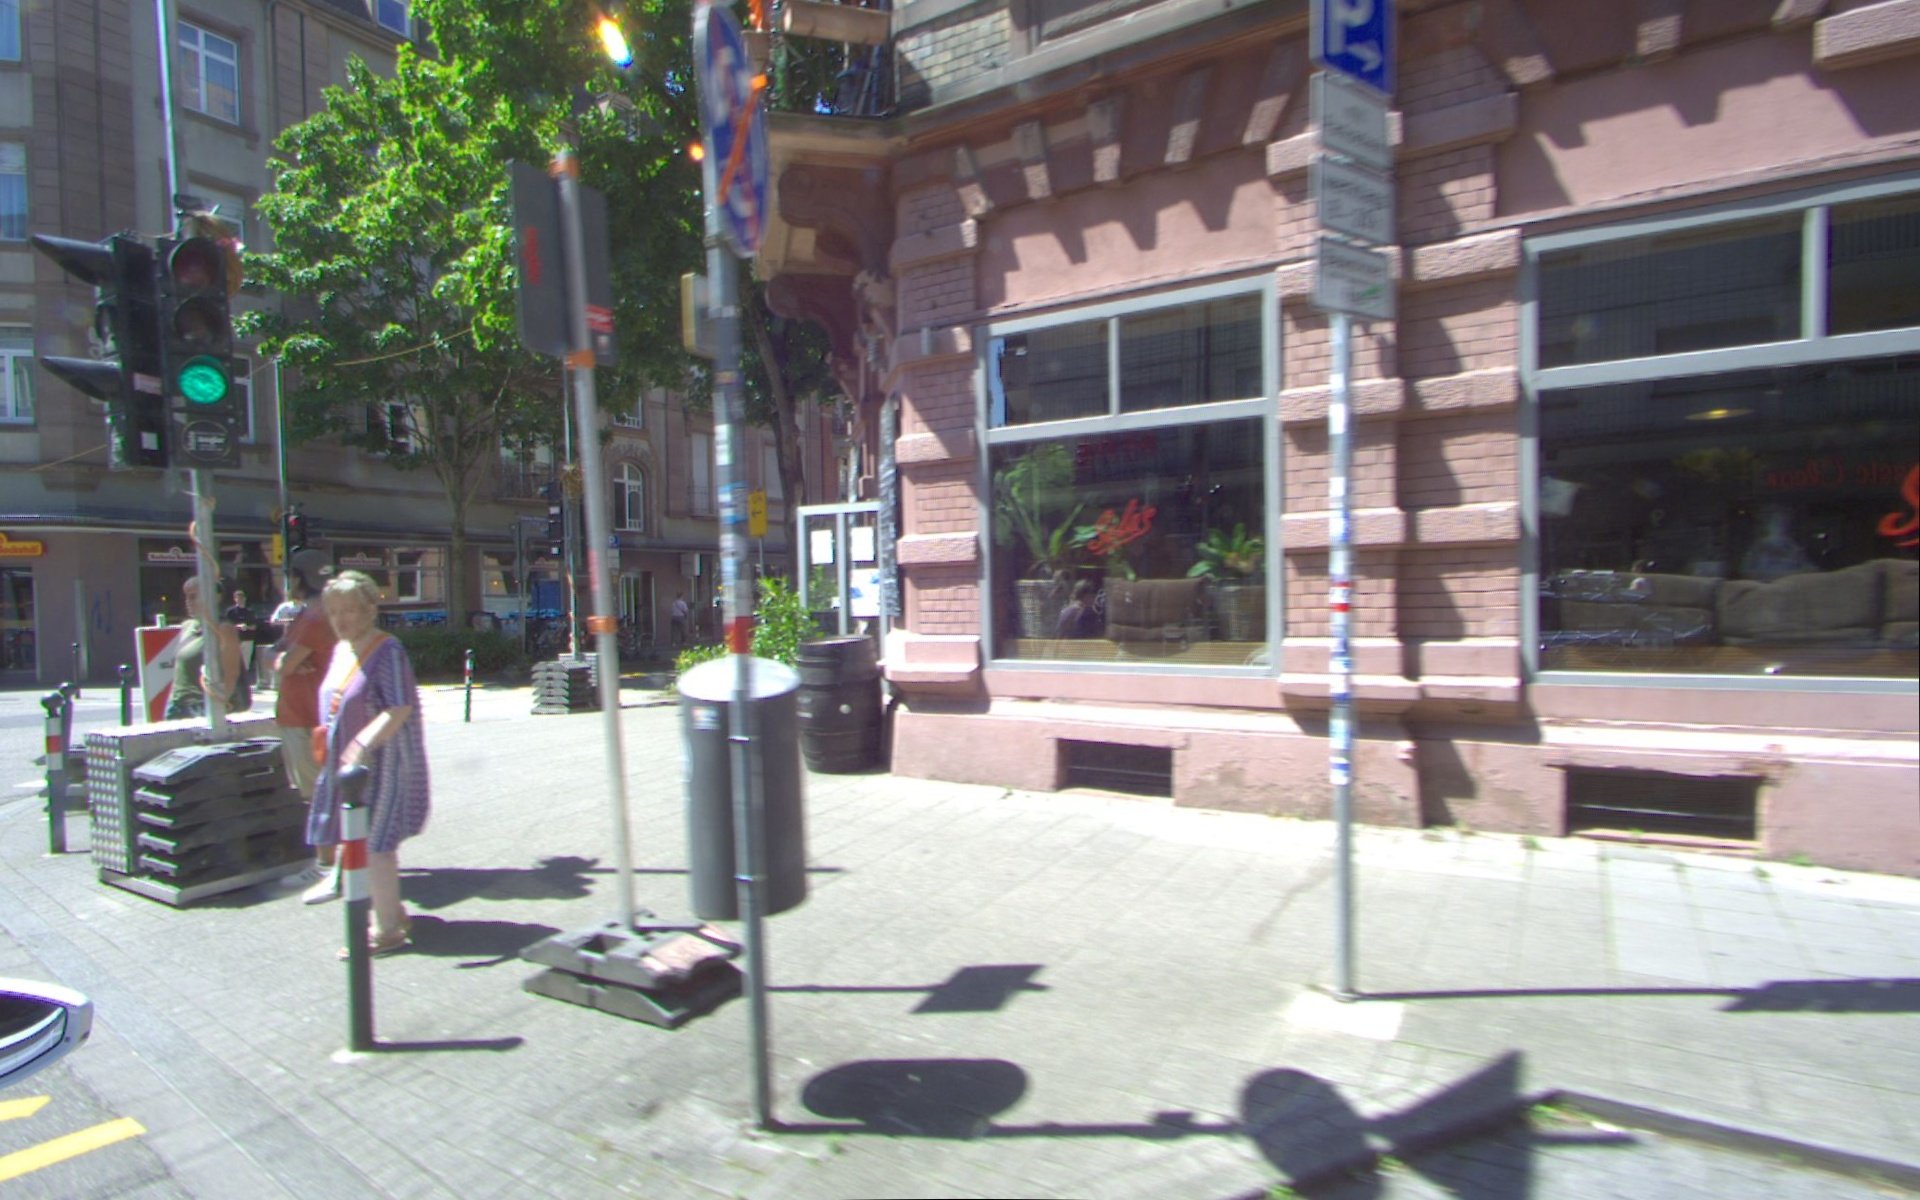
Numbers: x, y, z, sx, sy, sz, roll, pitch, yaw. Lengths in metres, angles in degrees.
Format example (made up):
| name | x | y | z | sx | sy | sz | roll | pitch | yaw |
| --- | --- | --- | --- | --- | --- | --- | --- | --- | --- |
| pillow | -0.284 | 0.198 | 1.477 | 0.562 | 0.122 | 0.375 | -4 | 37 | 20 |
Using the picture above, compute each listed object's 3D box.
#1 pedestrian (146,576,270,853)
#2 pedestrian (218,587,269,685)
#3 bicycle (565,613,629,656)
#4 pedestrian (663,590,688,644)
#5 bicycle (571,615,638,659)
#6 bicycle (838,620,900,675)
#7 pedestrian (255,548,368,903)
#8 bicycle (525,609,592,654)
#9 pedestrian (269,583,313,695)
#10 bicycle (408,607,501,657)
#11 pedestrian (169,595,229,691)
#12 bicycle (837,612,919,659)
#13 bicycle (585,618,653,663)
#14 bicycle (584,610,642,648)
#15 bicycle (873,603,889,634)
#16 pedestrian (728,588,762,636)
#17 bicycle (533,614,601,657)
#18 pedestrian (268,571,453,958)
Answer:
| name | x | y | z | sx | sy | sz | roll | pitch | yaw |
| --- | --- | --- | --- | --- | --- | --- | --- | --- | --- |
| pedestrian | -4.520 | 0.653 | 6.020 | 0.473 | 1.581 | 0.457 | 0 | 1 | 38 |
| pedestrian | -13.569 | 0.675 | 18.971 | 0.463 | 1.794 | 0.575 | 3 | 5 | 24 |
| bicycle | -9.267 | 0.868 | 25.603 | 0.463 | 1.019 | 1.682 | 2 | 2 | 28 |
| pedestrian | -8.766 | 0.527 | 30.892 | 0.552 | 1.636 | 0.489 | 0 | 2 | 37 |
| bicycle | -8.917 | 0.923 | 25.191 | 0.463 | 1.010 | 1.758 | 2 | 2 | 28 |
| bicycle | -1.991 | 1.026 | 22.078 | 0.501 | 1.122 | 1.778 | -1 | 1 | 26 |
| pedestrian | -3.254 | 0.603 | 5.028 | 0.396 | 1.698 | 0.331 | 0 | 1 | 38 |
| bicycle | -10.465 | 0.810 | 26.169 | 0.463 | 1.095 | 1.758 | 2 | 2 | 28 |
| pedestrian | -10.784 | 0.621 | 16.139 | 0.473 | 1.755 | 0.865 | -2 | 0 | -39 |
| bicycle | -12.419 | 0.760 | 24.653 | 1.965 | 1.147 | 0.512 | -1 | 1 | -41 |
| pedestrian | -13.863 | 0.764 | 18.257 | 0.415 | 1.669 | 0.701 | 3 | 5 | 24 |
| bicycle | -1.691 | 0.724 | 21.015 | 0.502 | 0.883 | 2.061 | 0 | 1 | 35 |
| bicycle | -8.405 | 0.971 | 24.715 | 0.463 | 1.010 | 1.758 | 2 | 2 | 28 |
| bicycle | -10.074 | 0.829 | 29.134 | 0.497 | 1.010 | 1.721 | 2 | 2 | 28 |
| bicycle | -2.878 | 0.652 | 36.480 | 0.534 | 1.060 | 1.937 | -1 | 1 | -5 |
| pedestrian | -7.601 | 0.423 | 35.344 | 0.776 | 1.656 | 0.854 | 0 | 1 | 31 |
| bicycle | -10.058 | 0.898 | 25.694 | 0.463 | 1.010 | 1.758 | 2 | 2 | 28 |
| pedestrian | -2.608 | 0.669 | 4.373 | 0.431 | 1.564 | 0.490 | 0 | 3 | 38 |
